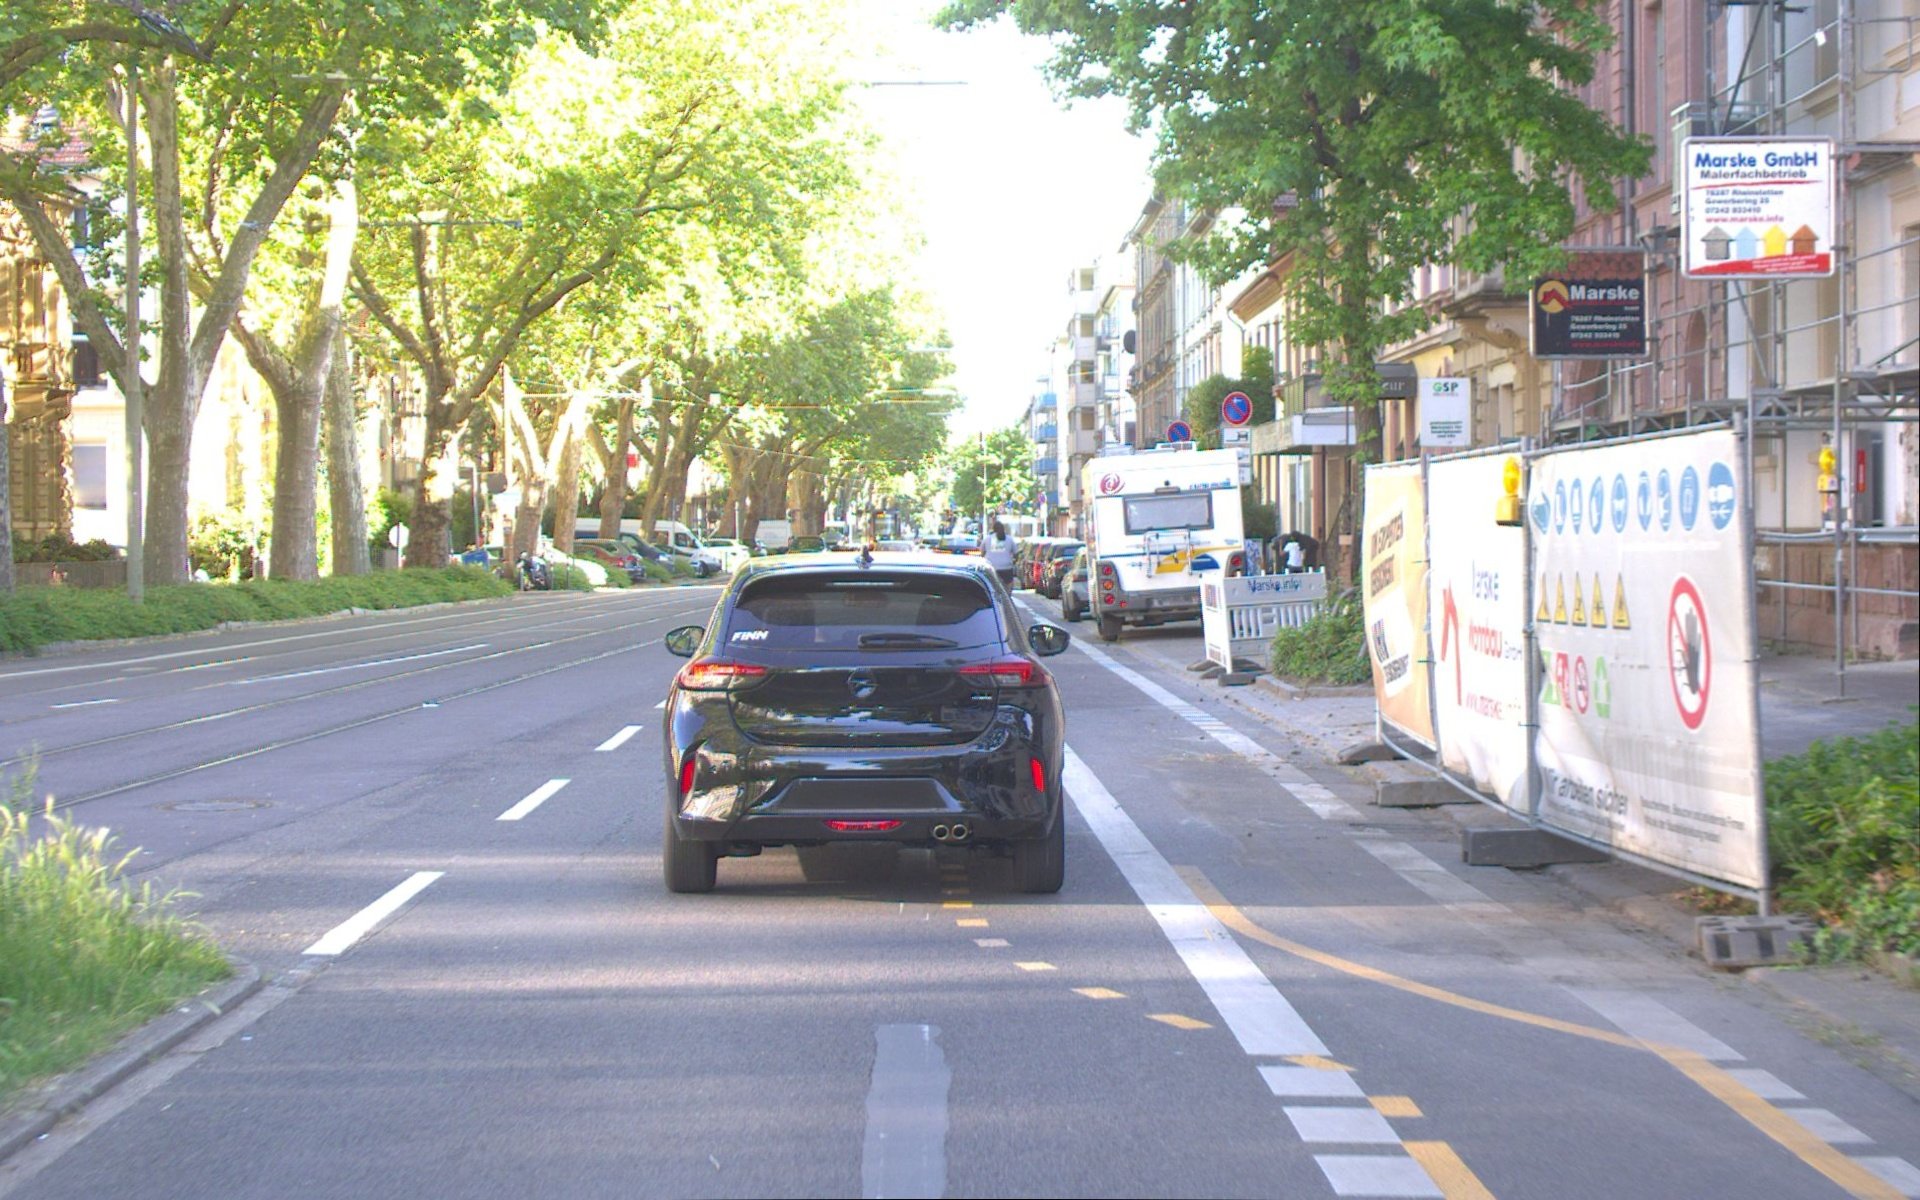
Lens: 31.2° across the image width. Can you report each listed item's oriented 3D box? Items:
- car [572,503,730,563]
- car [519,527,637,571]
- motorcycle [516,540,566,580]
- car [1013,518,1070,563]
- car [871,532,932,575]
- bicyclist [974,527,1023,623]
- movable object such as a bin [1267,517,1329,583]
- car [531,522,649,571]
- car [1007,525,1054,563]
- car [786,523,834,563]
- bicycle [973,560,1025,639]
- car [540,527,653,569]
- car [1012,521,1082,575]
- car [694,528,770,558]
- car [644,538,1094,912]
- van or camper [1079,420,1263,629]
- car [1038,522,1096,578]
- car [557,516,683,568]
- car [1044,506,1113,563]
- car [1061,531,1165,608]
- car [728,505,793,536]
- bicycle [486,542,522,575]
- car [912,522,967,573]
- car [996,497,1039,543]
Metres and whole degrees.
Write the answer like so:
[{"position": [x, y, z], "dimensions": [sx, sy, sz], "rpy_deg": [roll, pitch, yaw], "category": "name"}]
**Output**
[{"position": [-13.460, -2.927, 150.022], "dimensions": [6.628, 2.401, 2.458], "rpy_deg": [1, 1, 1], "category": "car"}, {"position": [-13.439, -1.807, 120.964], "dimensions": [3.920, 1.437, 1.749], "rpy_deg": [1, 1, 1], "category": "car"}, {"position": [-12.307, -1.184, 101.071], "dimensions": [0.884, 1.143, 2.390], "rpy_deg": [1, 1, 8], "category": "motorcycle"}, {"position": [2.842, -2.084, 120.388], "dimensions": [1.880, 1.451, 4.026], "rpy_deg": [-3, 1, 1], "category": "car"}, {"position": [-1.855, -1.511, 110.195], "dimensions": [1.810, 1.333, 3.933], "rpy_deg": [0, 1, 1], "category": "car"}, {"position": [0.700, -0.470, 62.925], "dimensions": [0.848, 1.734, 1.162], "rpy_deg": [0, 1, -1], "category": "bicyclist"}, {"position": [7.789, -1.162, 79.368], "dimensions": [1.293, 1.515, 1.286], "rpy_deg": [0, 1, 0], "category": "movable object such as a bin"}, {"position": [-13.244, -1.912, 123.101], "dimensions": [3.994, 1.621, 1.879], "rpy_deg": [1, 1, 0], "category": "car"}, {"position": [2.894, -2.285, 140.101], "dimensions": [1.705, 1.451, 3.697], "rpy_deg": [-3, 1, 3], "category": "car"}, {"position": [-6.423, -2.457, 147.729], "dimensions": [1.866, 1.624, 4.560], "rpy_deg": [0, 2, 0], "category": "car"}, {"position": [0.706, -0.023, 62.971], "dimensions": [0.860, 1.402, 2.524], "rpy_deg": [0, 1, -1], "category": "bicycle"}, {"position": [-13.249, -1.887, 125.507], "dimensions": [3.919, 1.417, 1.819], "rpy_deg": [1, 1, -1], "category": "car"}, {"position": [2.781, -1.676, 110.790], "dimensions": [1.880, 1.580, 3.933], "rpy_deg": [-3, 1, -3], "category": "car"}, {"position": [-11.979, -3.002, 180.931], "dimensions": [3.919, 1.493, 1.677], "rpy_deg": [1, 1, -2], "category": "car"}, {"position": [-0.369, 0.469, 15.542], "dimensions": [1.794, 1.436, 3.531], "rpy_deg": [0, 2, 0], "category": "car"}, {"position": [3.266, -1.196, 54.958], "dimensions": [2.477, 2.962, 7.884], "rpy_deg": [-3, 1, 1], "category": "van or camper"}, {"position": [3.091, -1.460, 99.750], "dimensions": [1.634, 1.541, 3.576], "rpy_deg": [-1, 1, 1], "category": "car"}, {"position": [-13.351, -2.273, 135.197], "dimensions": [4.675, 1.917, 1.980], "rpy_deg": [1, 1, 2], "category": "car"}, {"position": [2.998, -1.666, 87.721], "dimensions": [1.694, 1.388, 4.494], "rpy_deg": [-1, 1, 1], "category": "car"}, {"position": [3.019, -0.629, 68.515], "dimensions": [1.809, 1.430, 4.665], "rpy_deg": [-1, 1, 0], "category": "car"}, {"position": [-12.279, -4.892, 211.474], "dimensions": [3.919, 1.784, 1.677], "rpy_deg": [1, 1, -2], "category": "car"}, {"position": [-13.405, -1.214, 101.095], "dimensions": [0.541, 0.937, 2.033], "rpy_deg": [1, 1, 8], "category": "bicycle"}, {"position": [-0.691, -1.850, 120.908], "dimensions": [1.810, 1.736, 3.933], "rpy_deg": [0, 1, 1], "category": "car"}, {"position": [3.000, -4.145, 177.673], "dimensions": [2.075, 2.211, 4.933], "rpy_deg": [-3, 1, 1], "category": "car"}]
